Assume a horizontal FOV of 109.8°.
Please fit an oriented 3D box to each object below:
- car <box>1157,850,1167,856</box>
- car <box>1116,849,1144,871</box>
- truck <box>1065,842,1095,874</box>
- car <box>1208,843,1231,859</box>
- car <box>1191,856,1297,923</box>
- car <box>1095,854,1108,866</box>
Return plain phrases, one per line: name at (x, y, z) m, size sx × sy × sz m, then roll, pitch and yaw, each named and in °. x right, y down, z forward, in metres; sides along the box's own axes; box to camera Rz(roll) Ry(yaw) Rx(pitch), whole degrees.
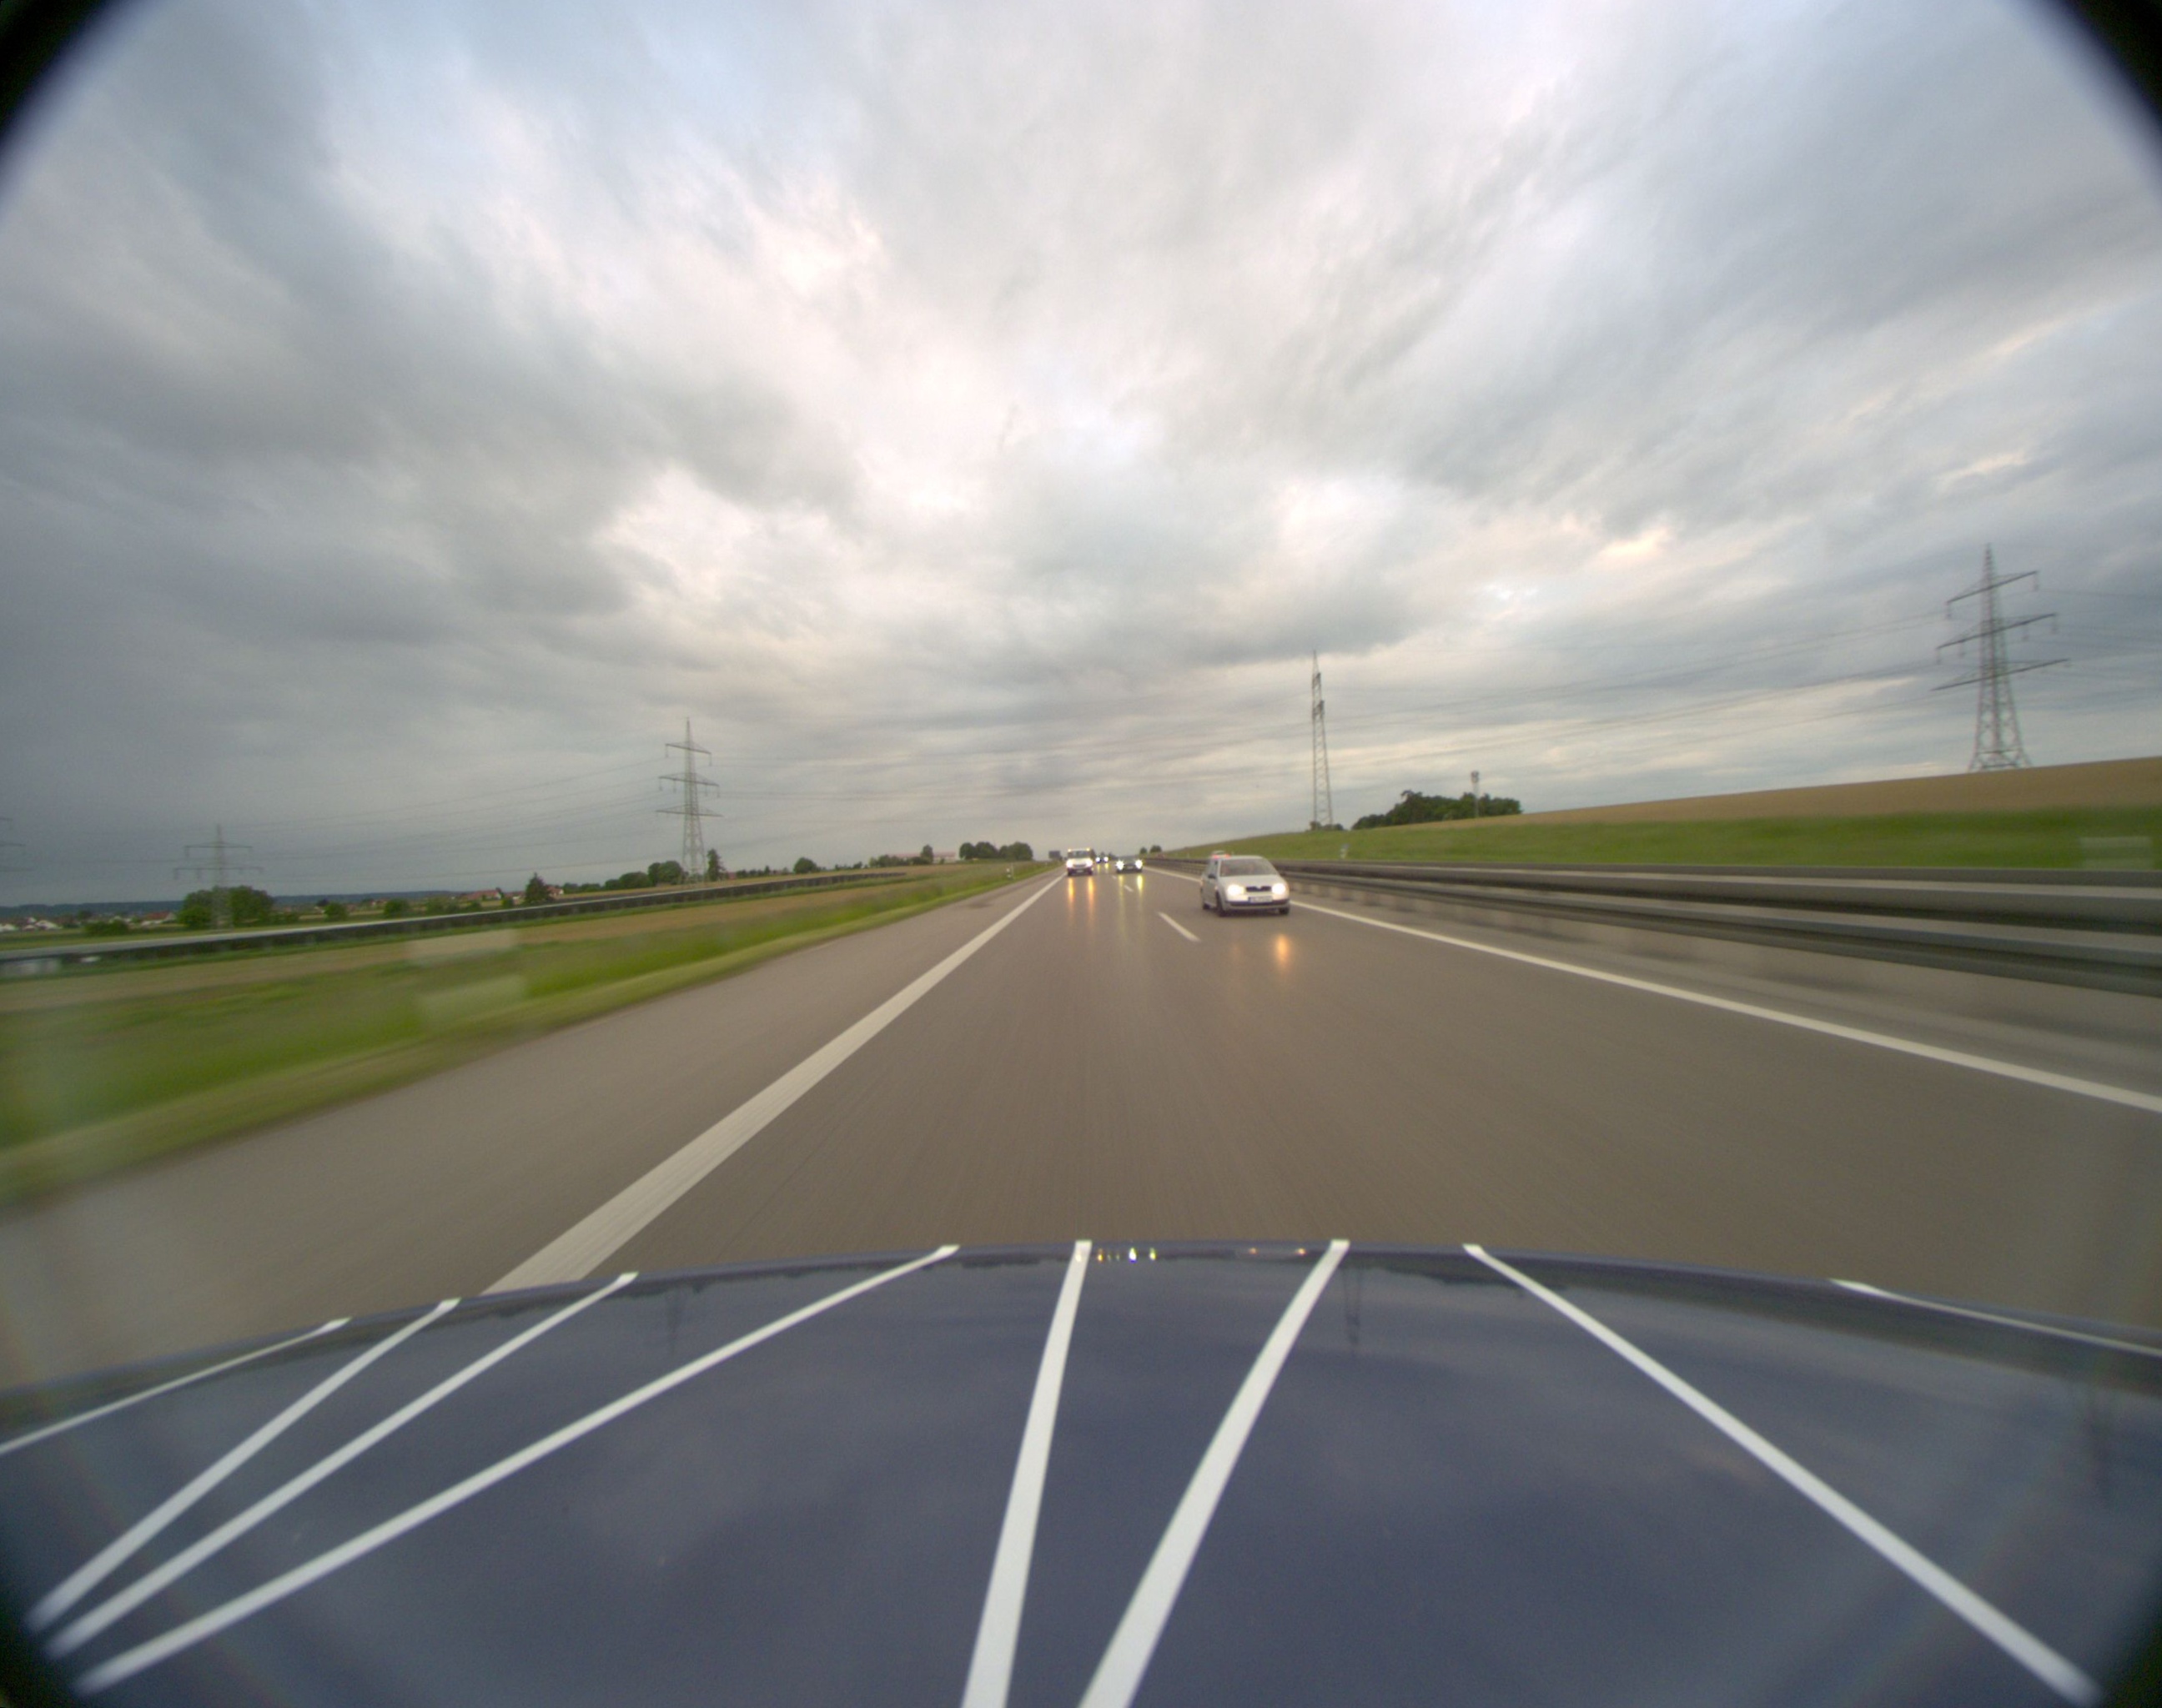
car at (18.860, -0.232, 176.462) m, size 1.678 × 1.352 × 4.011 m, roll -6°, pitch 0°, yaw 0°
car at (3.958, 0.463, 61.991) m, size 1.951 × 1.620 × 4.536 m, roll -3°, pitch 0°, yaw 1°
truck at (-0.111, 0.318, 63.523) m, size 2.177 × 2.346 × 7.696 m, roll -4°, pitch 0°, yaw 0°
car at (16.206, -0.367, 88.857) m, size 1.795 × 1.689 × 4.590 m, roll -4°, pitch 0°, yaw 1°
car at (3.933, 0.793, 19.069) m, size 1.592 × 1.381 × 4.601 m, roll -2°, pitch 0°, yaw -1°
car at (3.776, 1.054, 140.635) m, size 1.999 × 2.002 × 4.461 m, roll -4°, pitch 0°, yaw -1°
